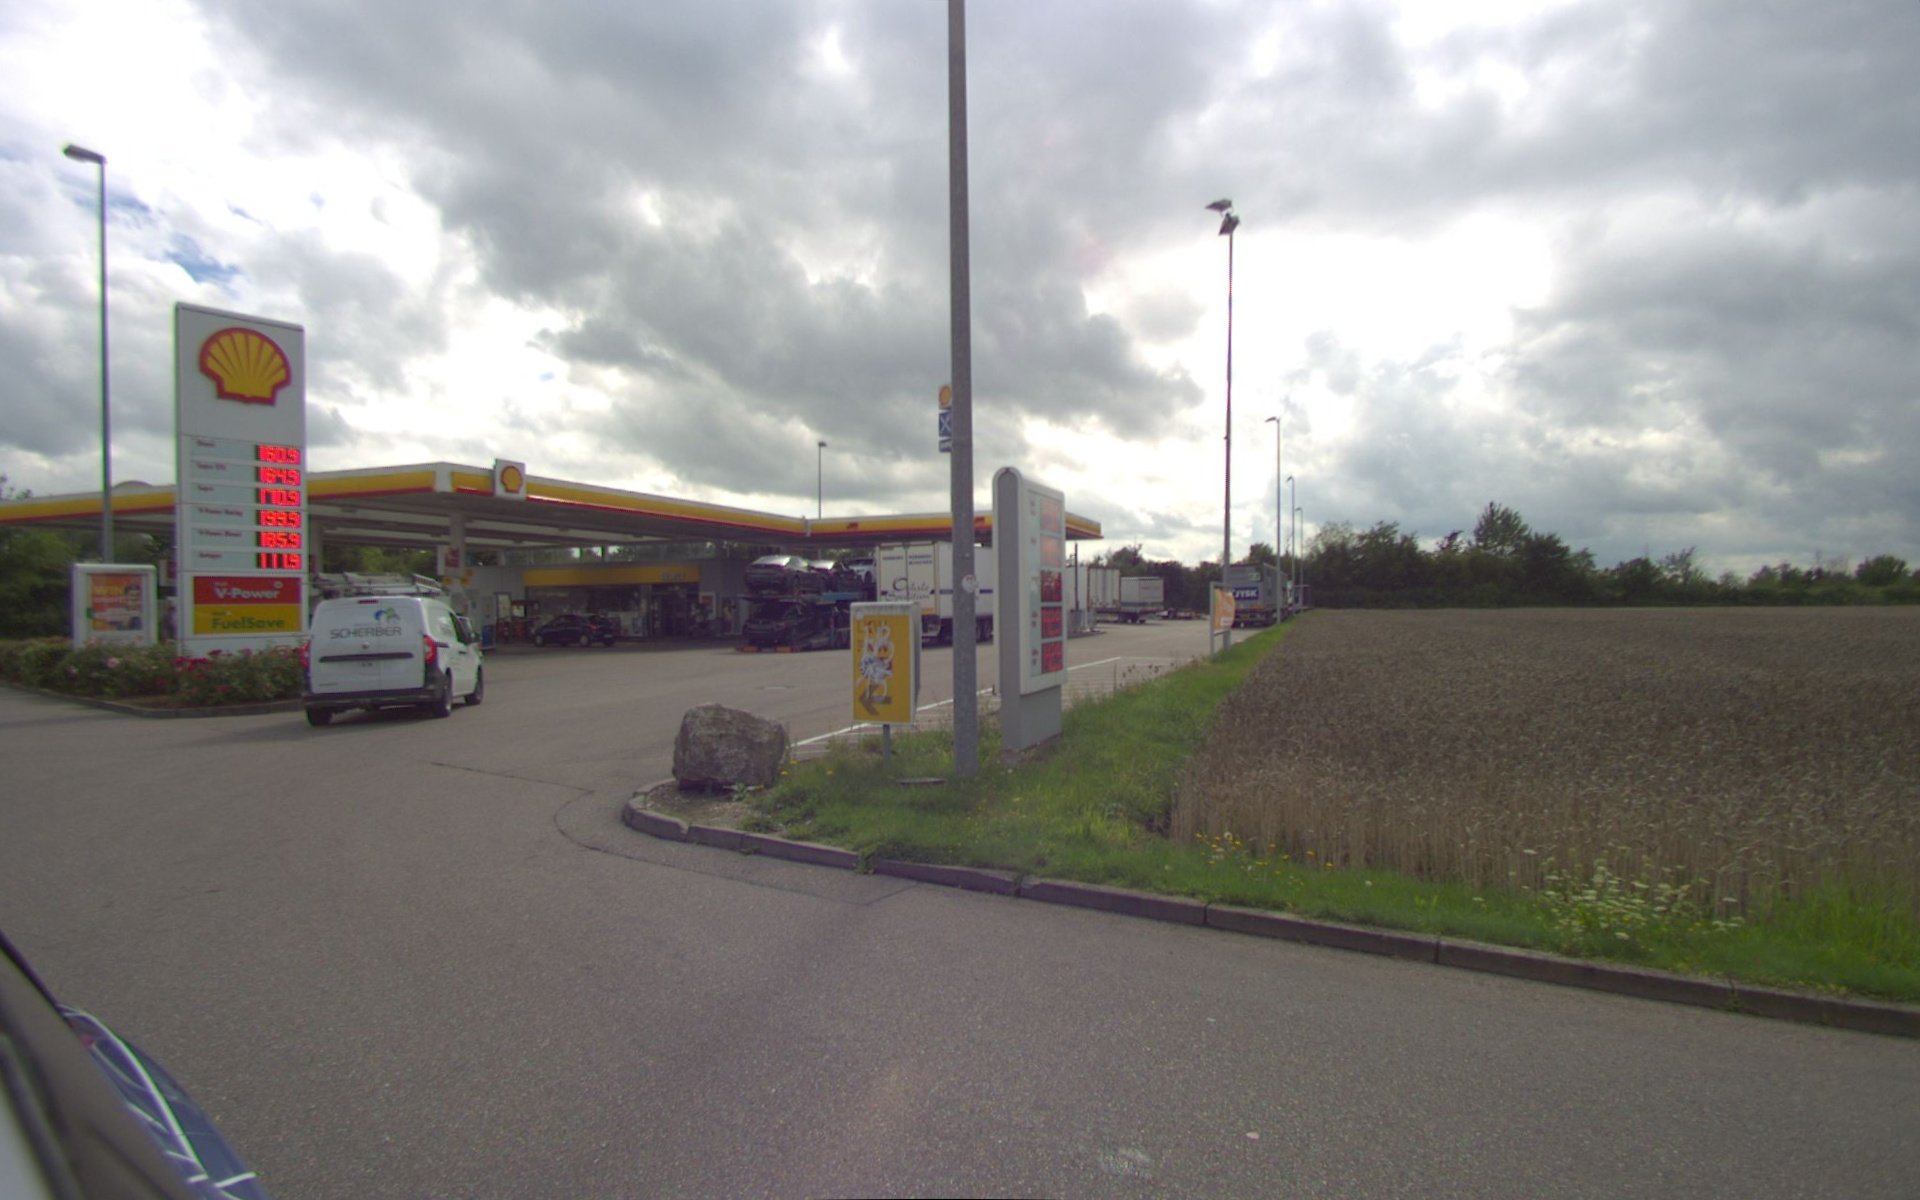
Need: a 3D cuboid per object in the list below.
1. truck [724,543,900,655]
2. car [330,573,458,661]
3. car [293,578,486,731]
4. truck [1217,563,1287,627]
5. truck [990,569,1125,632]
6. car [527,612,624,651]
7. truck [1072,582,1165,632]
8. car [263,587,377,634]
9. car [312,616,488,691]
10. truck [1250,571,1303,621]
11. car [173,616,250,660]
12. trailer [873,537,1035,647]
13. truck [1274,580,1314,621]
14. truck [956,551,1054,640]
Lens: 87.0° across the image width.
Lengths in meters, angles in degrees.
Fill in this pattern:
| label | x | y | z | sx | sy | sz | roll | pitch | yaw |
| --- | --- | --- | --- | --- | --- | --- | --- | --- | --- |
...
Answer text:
| label | x | y | z | sx | sy | sz | roll | pitch | yaw |
| --- | --- | --- | --- | --- | --- | --- | --- | --- | --- |
| truck | -5.655 | -0.006 | 42.281 | 2.724 | 3.953 | 13.204 | 0 | 0 | 13 |
| car | -19.641 | 0.586 | 35.436 | 2.188 | 2.808 | 5.821 | -1 | -1 | -11 |
| car | -8.685 | 0.778 | 15.768 | 1.766 | 2.027 | 3.892 | -1 | -1 | -16 |
| truck | 20.137 | -0.274 | 68.924 | 2.806 | 3.923 | 15.342 | 0 | 0 | 23 |
| truck | 6.724 | 0.091 | 74.095 | 2.912 | 4.143 | 14.798 | 0 | 0 | -24 |
| car | -16.758 | 1.368 | 44.096 | 3.733 | 1.613 | 1.705 | -2 | -1 | 20 |
| truck | 14.099 | 0.708 | 91.397 | 2.943 | 4.142 | 11.611 | -1 | -1 | -20 |
| car | -23.146 | 0.380 | 36.795 | 1.969 | 1.571 | 3.967 | -1 | -1 | -7 |
| car | -12.765 | 1.202 | 23.083 | 3.697 | 1.559 | 1.567 | -2 | -1 | 23 |
| truck | 27.172 | -0.291 | 86.375 | 2.806 | 3.923 | 15.342 | 0 | 0 | 23 |
| car | -29.076 | 1.452 | 39.422 | 1.819 | 1.586 | 4.012 | -1 | -1 | -28 |
| trailer | 0.187 | -0.256 | 44.049 | 2.693 | 4.055 | 12.760 | -2 | -1 | 20 |
| truck | 33.841 | 0.045 | 102.133 | 2.806 | 3.923 | 12.710 | 0 | 0 | 23 |
| truck | 2.359 | -0.178 | 50.003 | 2.693 | 4.055 | 7.120 | -2 | -1 | 20 |
